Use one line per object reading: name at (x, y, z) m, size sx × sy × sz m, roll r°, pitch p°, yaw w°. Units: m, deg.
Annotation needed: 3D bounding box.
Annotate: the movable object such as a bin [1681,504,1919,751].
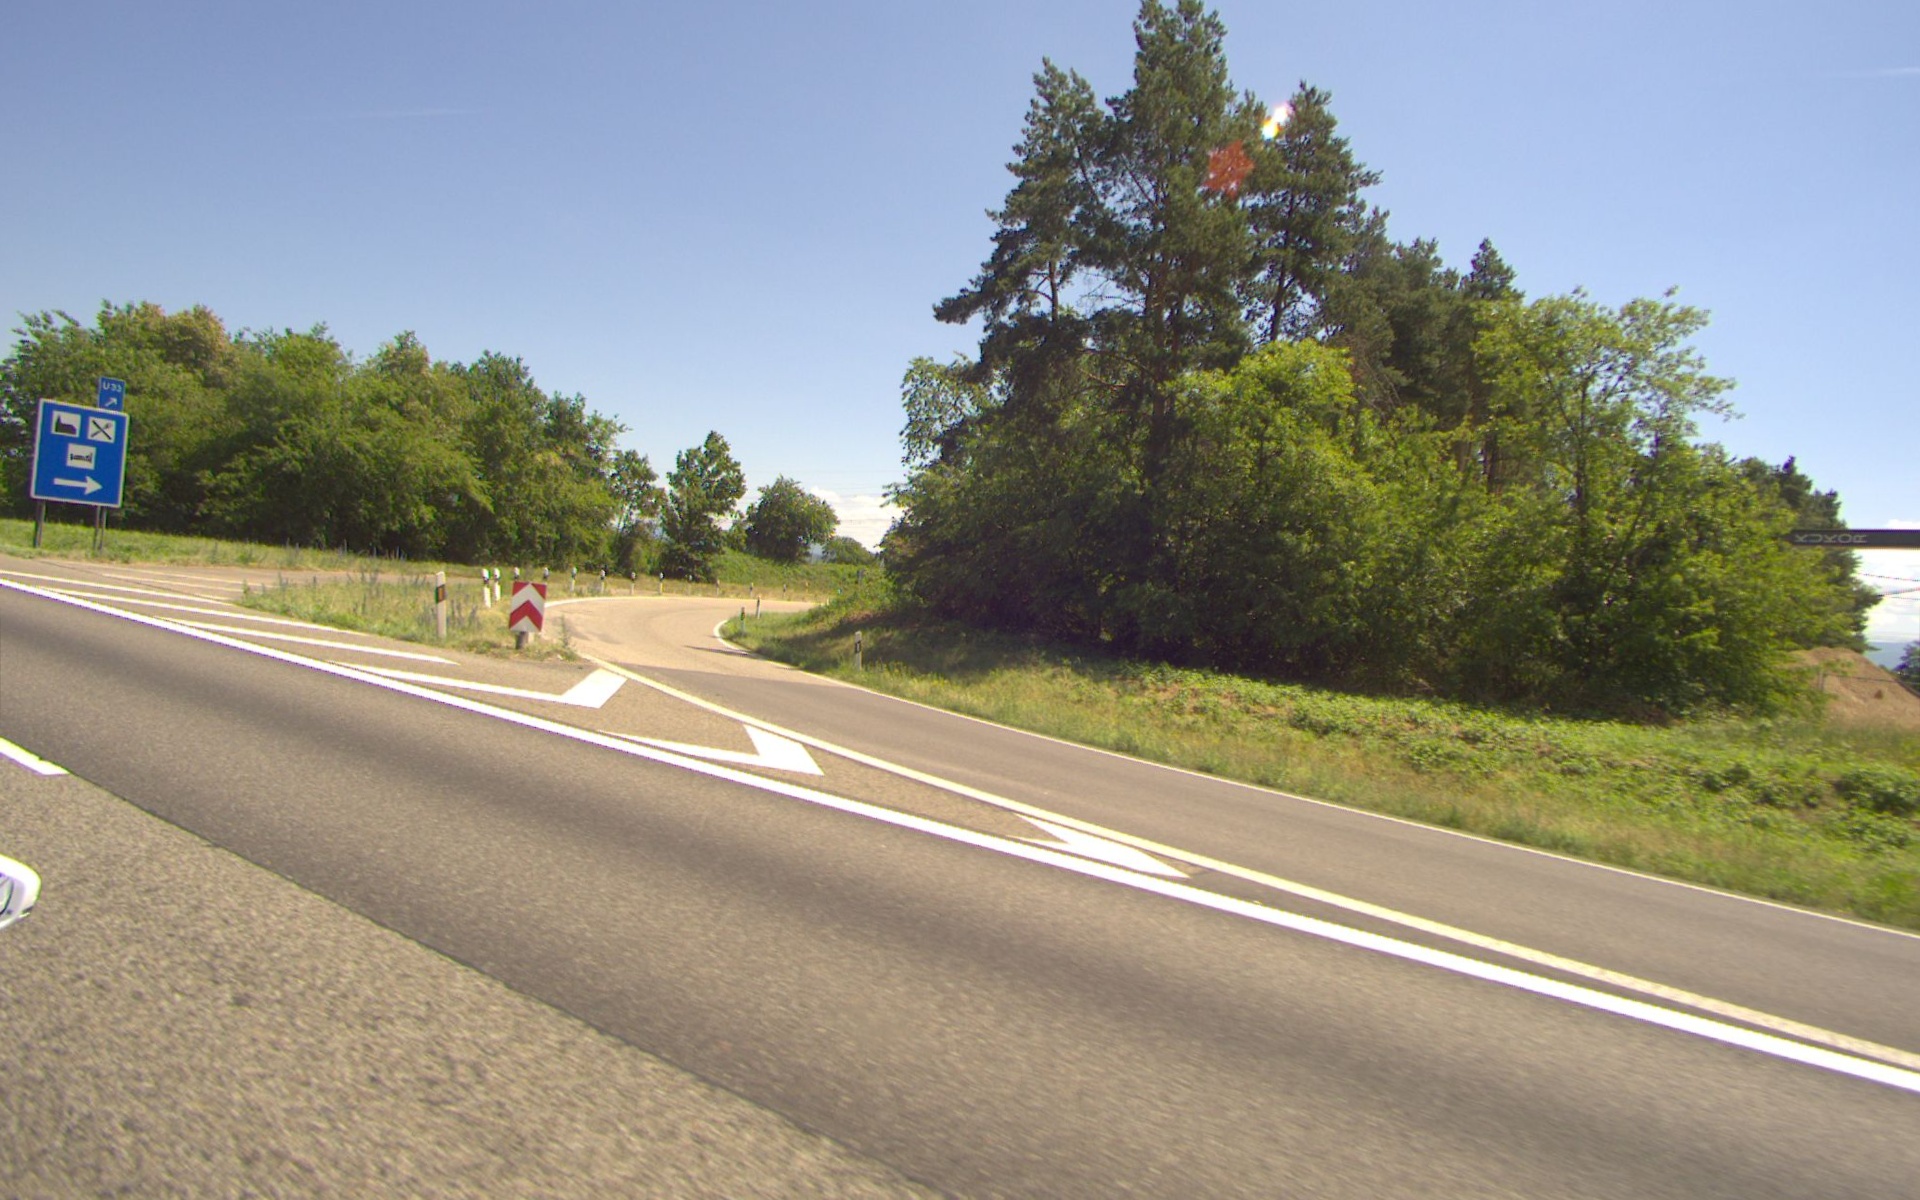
movable object such as a bin at (36.194, 1.487, 30.402) m, size 3.123 × 8.021 × 22.503 m, roll 8°, pitch -1°, yaw -45°
